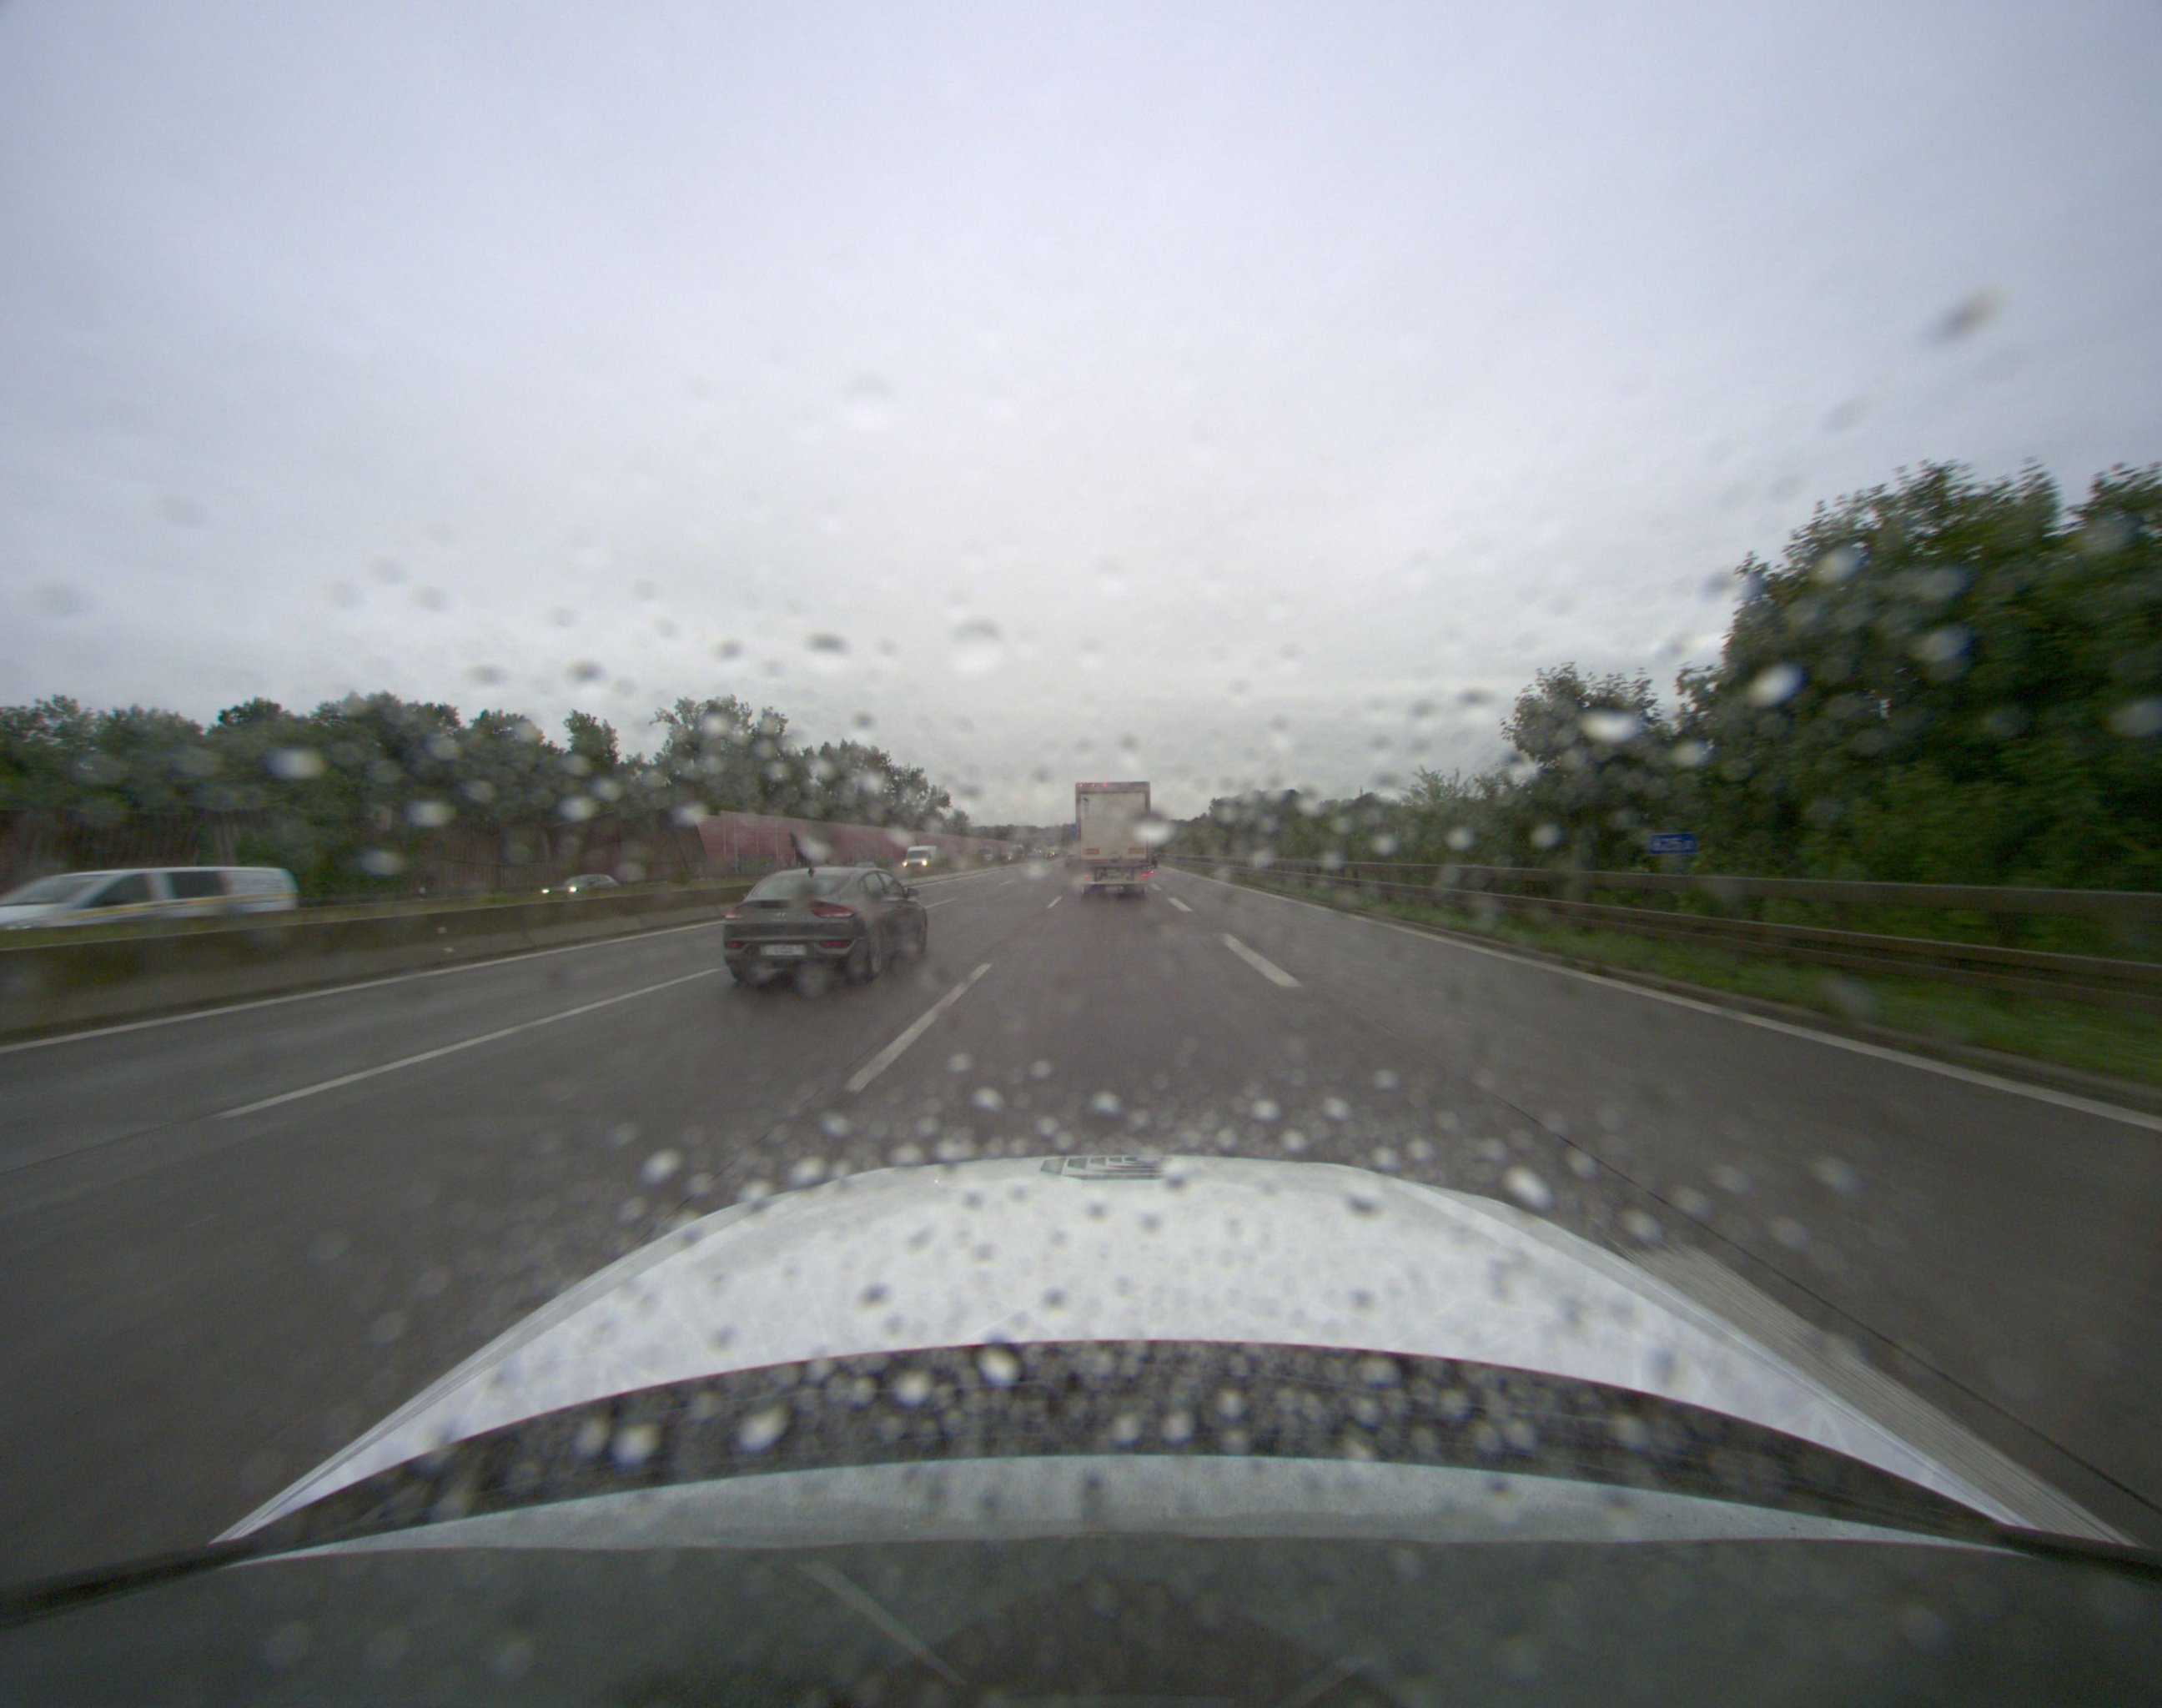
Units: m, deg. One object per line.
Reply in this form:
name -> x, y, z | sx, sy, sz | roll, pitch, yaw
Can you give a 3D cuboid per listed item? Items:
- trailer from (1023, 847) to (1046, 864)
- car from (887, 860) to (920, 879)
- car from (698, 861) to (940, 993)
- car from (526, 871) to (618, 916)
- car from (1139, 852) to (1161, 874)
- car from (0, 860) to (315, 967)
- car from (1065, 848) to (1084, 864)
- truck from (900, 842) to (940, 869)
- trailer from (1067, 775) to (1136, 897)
trailer -> -4.664, 0.125, 81.986 | 1.808, 1.624, 4.570 | -1, 1, 2
car -> -16.995, 1.441, 78.309 | 1.985, 1.739, 4.469 | -1, 0, 2
car -> -3.360, 0.837, 11.551 | 1.719, 1.403, 4.830 | -1, 0, 2
car -> -25.920, 1.968, 41.653 | 1.985, 2.013, 4.003 | -1, 0, 2
car -> 6.528, 0.833, 77.407 | 1.889, 1.949, 4.004 | 0, 0, 3
car -> -19.150, 1.063, 16.625 | 1.986, 1.784, 5.211 | -1, 0, 1
car -> -0.688, 0.176, 89.086 | 1.887, 1.723, 4.002 | 0, 0, 2
truck -> -13.735, 0.117, 69.872 | 2.136, 2.205, 5.422 | -1, 0, 2
trailer -> 0.967, -0.640, 35.215 | 2.333, 4.157, 14.833 | 0, 0, 2
